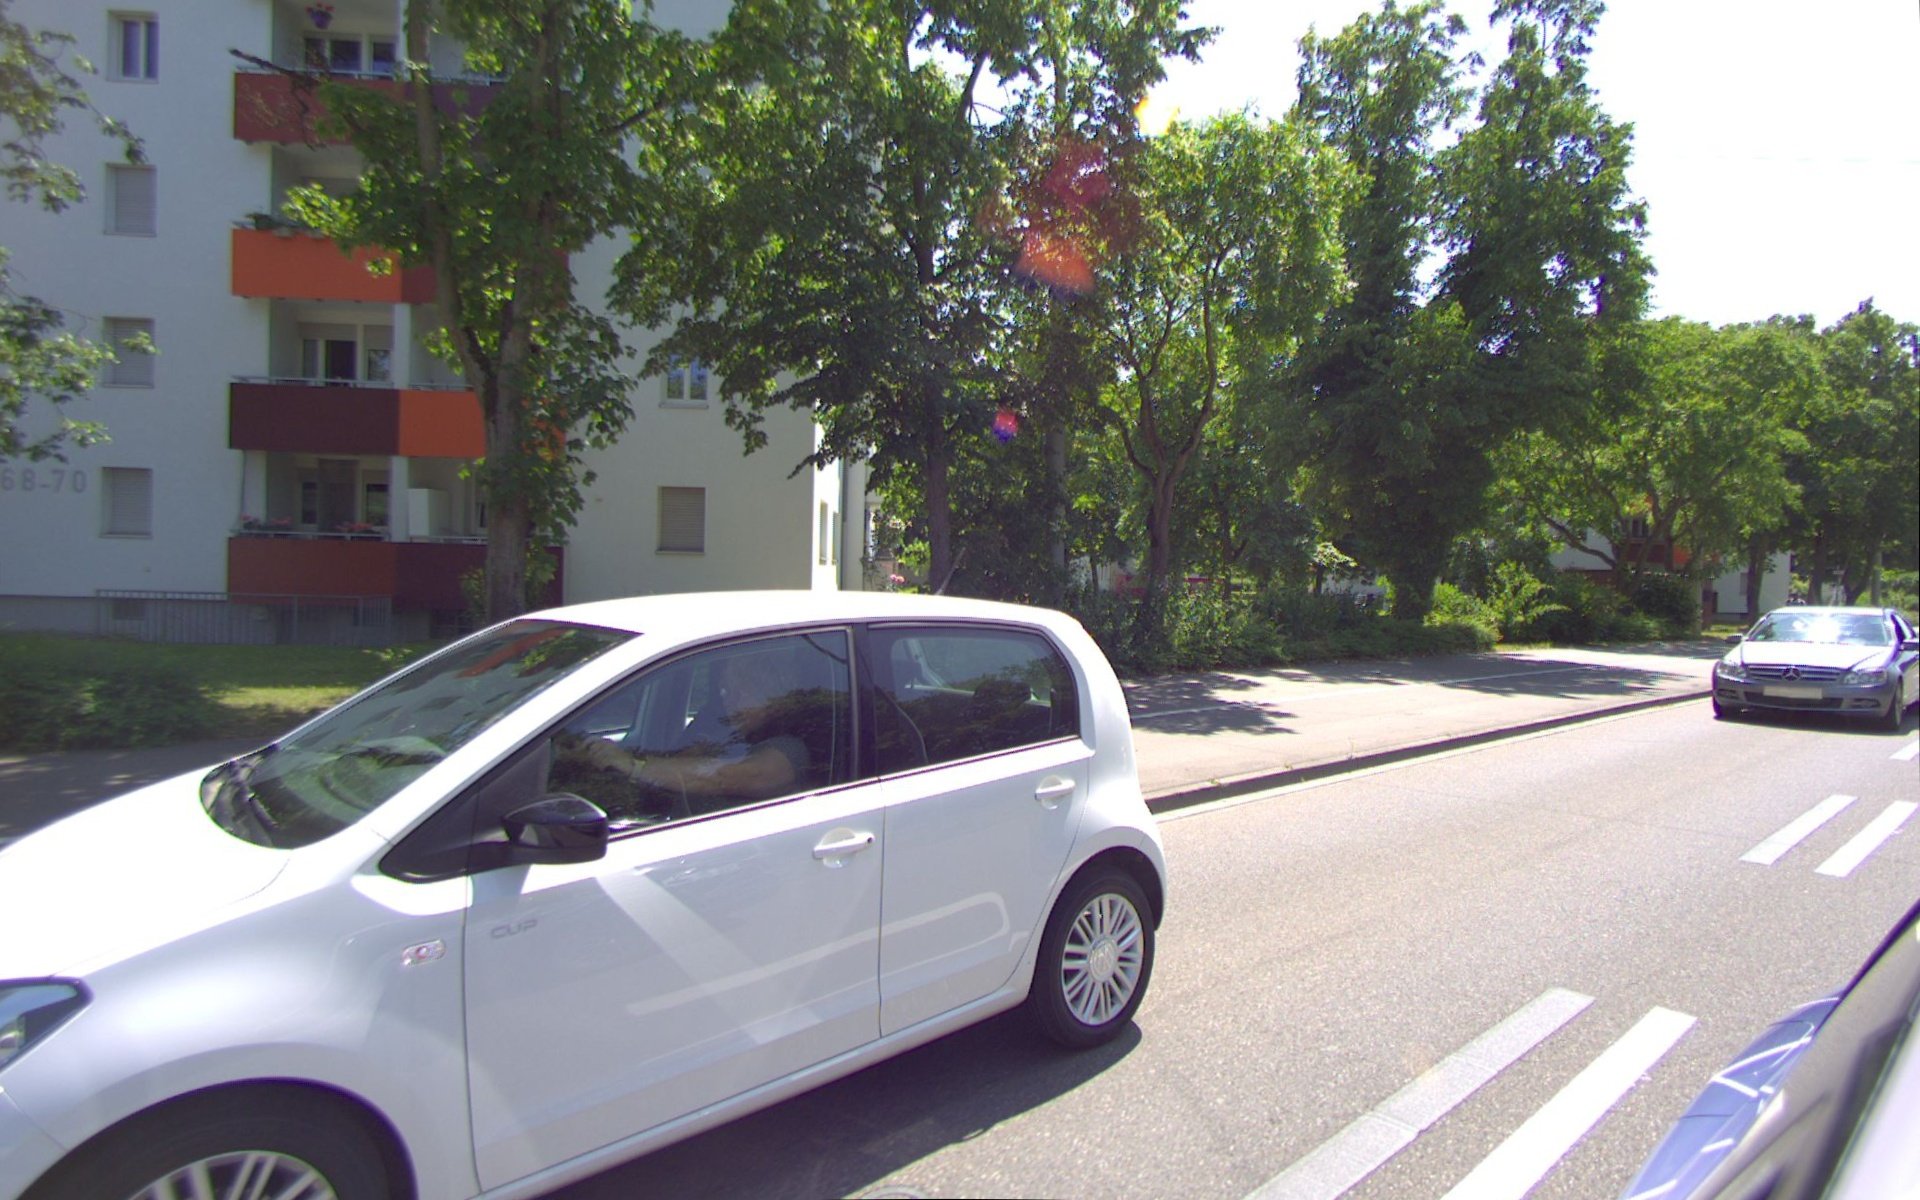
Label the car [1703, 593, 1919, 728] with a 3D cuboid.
[{"bbox_3d":[11.343,0.675,13.085,3.900,1.478,1.903,1,0,-39],"label":"car"}]

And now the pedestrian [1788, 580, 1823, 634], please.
[{"bbox_3d":[26.385,0.215,31.574,0.841,1.664,0.670,0,1,-39],"label":"pedestrian"}]

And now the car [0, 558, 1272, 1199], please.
[{"bbox_3d":[-0.775,0.655,3.252,3.787,1.467,1.662,0,1,-41],"label":"car"}]
